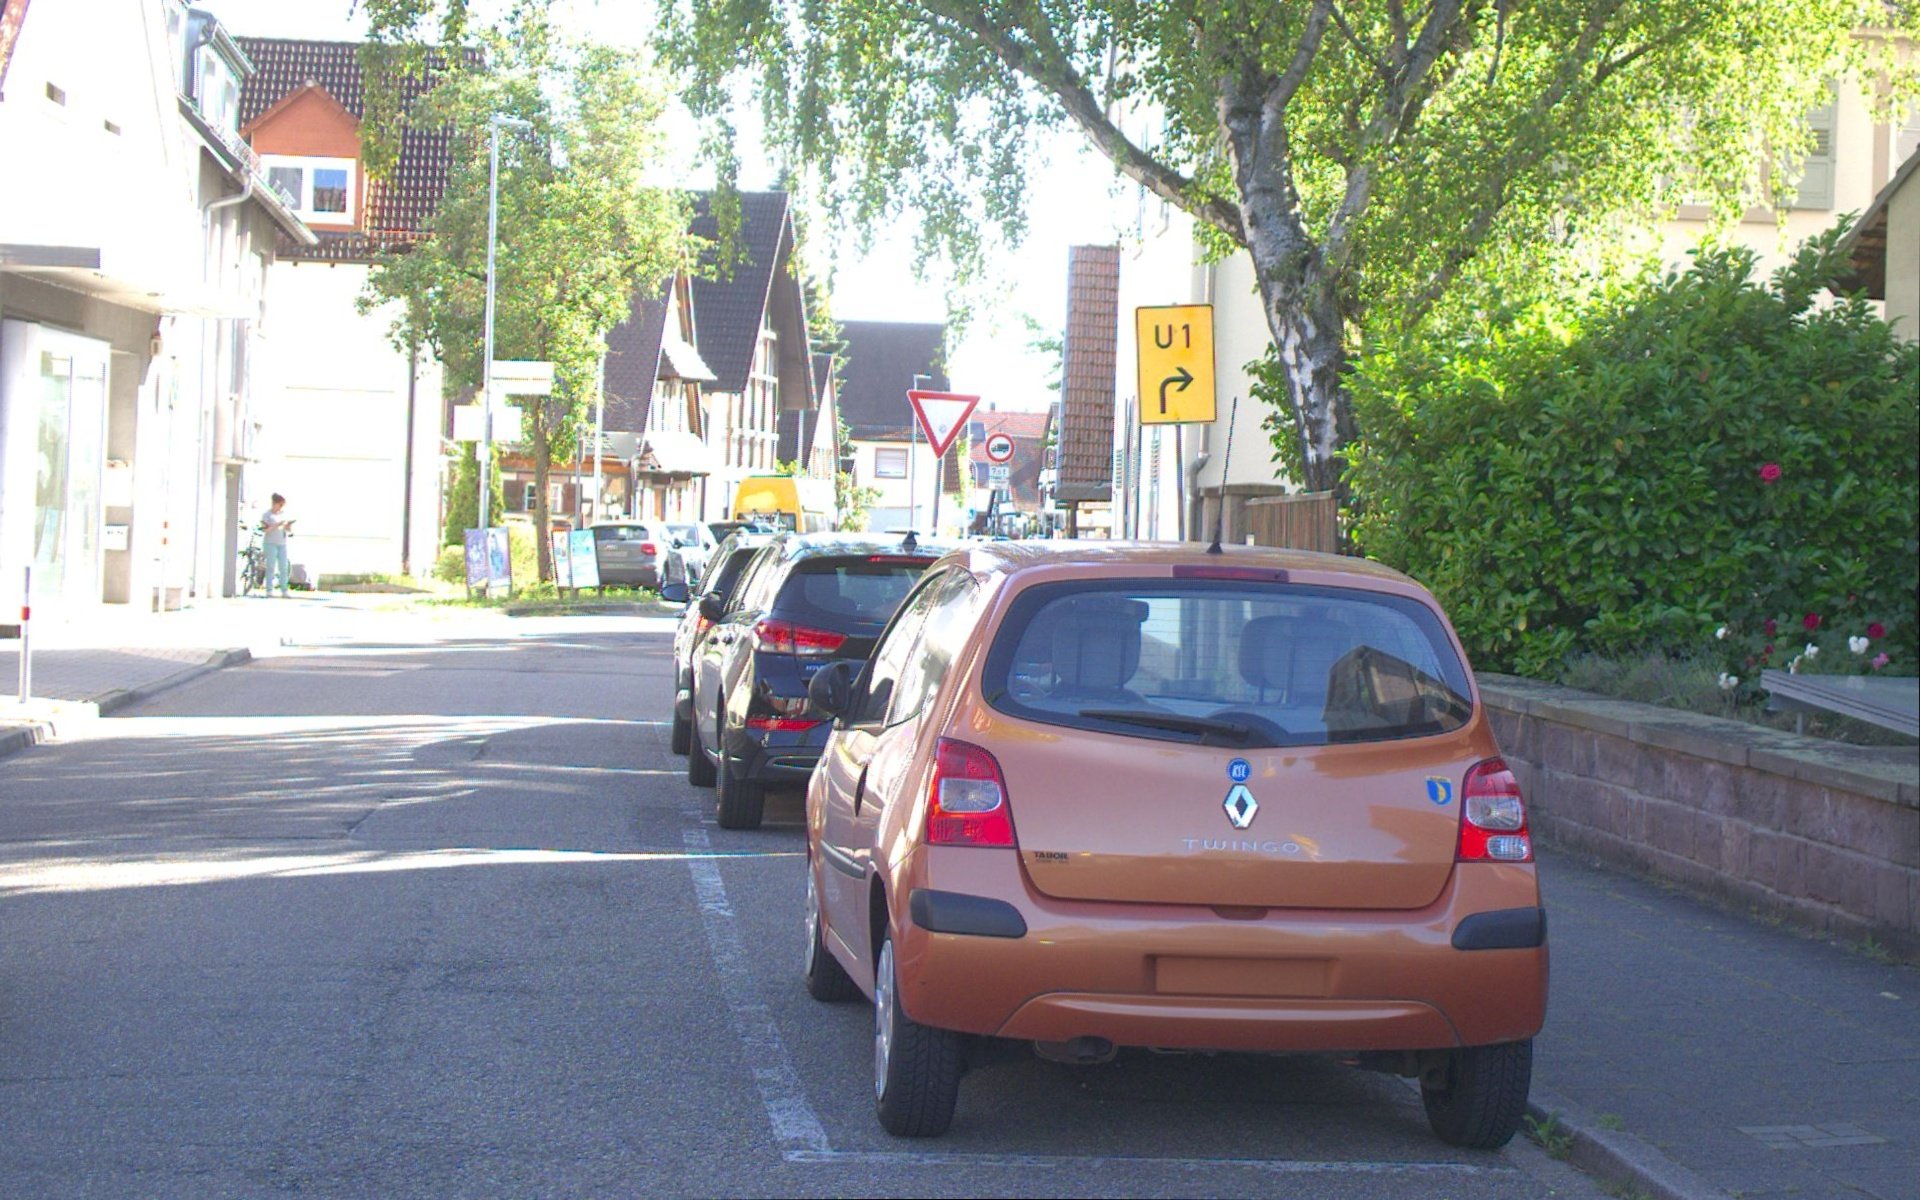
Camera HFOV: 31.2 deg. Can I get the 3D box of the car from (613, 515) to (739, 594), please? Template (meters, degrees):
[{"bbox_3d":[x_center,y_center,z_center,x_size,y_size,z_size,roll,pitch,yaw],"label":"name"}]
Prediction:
[{"bbox_3d":[-5.757,-0.917,70.140,1.807,1.500,4.107,2,1,5],"label":"car"}]

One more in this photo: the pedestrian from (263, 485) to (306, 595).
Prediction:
[{"bbox_3d":[-10.553,-0.936,53.717,0.483,1.687,0.557,2,-1,0],"label":"pedestrian"}]

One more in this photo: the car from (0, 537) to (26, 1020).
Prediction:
[{"bbox_3d":[-3.478,0.557,8.312,1.670,1.398,3.893,1,2,-5],"label":"car"}]

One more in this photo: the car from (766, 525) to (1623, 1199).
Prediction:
[{"bbox_3d":[0.431,0.585,9.740,1.648,1.473,3.935,2,2,-7],"label":"car"}]

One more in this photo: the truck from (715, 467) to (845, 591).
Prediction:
[{"bbox_3d":[-4.366,-1.715,84.536,2.268,2.858,5.781,2,1,5],"label":"truck"}]

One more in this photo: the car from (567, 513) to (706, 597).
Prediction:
[{"bbox_3d":[-6.151,-0.848,65.767,1.868,1.500,4.107,2,1,5],"label":"car"}]

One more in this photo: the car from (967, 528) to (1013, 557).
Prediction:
[{"bbox_3d":[1.722,-3.350,199.438,1.972,1.577,3.996,2,1,-9],"label":"car"}]

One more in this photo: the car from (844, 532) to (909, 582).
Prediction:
[{"bbox_3d":[-2.367,-1.240,98.125,1.588,1.331,3.614,2,1,2],"label":"car"}]

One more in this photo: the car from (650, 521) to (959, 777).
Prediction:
[{"bbox_3d":[-1.051,0.250,22.848,1.807,1.431,4.286,2,2,-3],"label":"car"}]

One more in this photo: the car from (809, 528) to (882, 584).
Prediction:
[{"bbox_3d":[-3.094,-1.201,93.533,1.645,1.428,3.614,2,1,2],"label":"car"}]

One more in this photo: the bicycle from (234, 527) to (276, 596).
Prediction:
[{"bbox_3d":[-10.975,-0.600,53.539,0.423,1.049,1.381,2,0,-3],"label":"bicycle"}]

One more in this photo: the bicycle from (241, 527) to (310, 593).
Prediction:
[{"bbox_3d":[-11.328,-0.650,56.941,0.578,1.049,2.036,2,0,4],"label":"bicycle"}]

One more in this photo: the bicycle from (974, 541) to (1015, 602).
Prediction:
[{"bbox_3d":[0.682,-0.560,67.170,0.433,1.172,1.828,2,1,12],"label":"bicycle"}]

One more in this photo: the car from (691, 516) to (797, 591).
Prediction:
[{"bbox_3d":[-4.936,-1.064,79.035,1.807,1.616,3.880,2,1,5],"label":"car"}]

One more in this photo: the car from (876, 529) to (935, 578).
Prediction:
[{"bbox_3d":[-1.674,-1.457,106.736,1.588,1.438,3.614,2,1,2],"label":"car"}]

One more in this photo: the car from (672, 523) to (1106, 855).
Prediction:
[{"bbox_3d":[-0.501,0.375,18.147,1.807,1.431,4.287,2,2,-7],"label":"car"}]

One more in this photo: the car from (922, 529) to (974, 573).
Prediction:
[{"bbox_3d":[-0.394,-1.688,118.600,1.588,1.438,3.614,2,1,2],"label":"car"}]
